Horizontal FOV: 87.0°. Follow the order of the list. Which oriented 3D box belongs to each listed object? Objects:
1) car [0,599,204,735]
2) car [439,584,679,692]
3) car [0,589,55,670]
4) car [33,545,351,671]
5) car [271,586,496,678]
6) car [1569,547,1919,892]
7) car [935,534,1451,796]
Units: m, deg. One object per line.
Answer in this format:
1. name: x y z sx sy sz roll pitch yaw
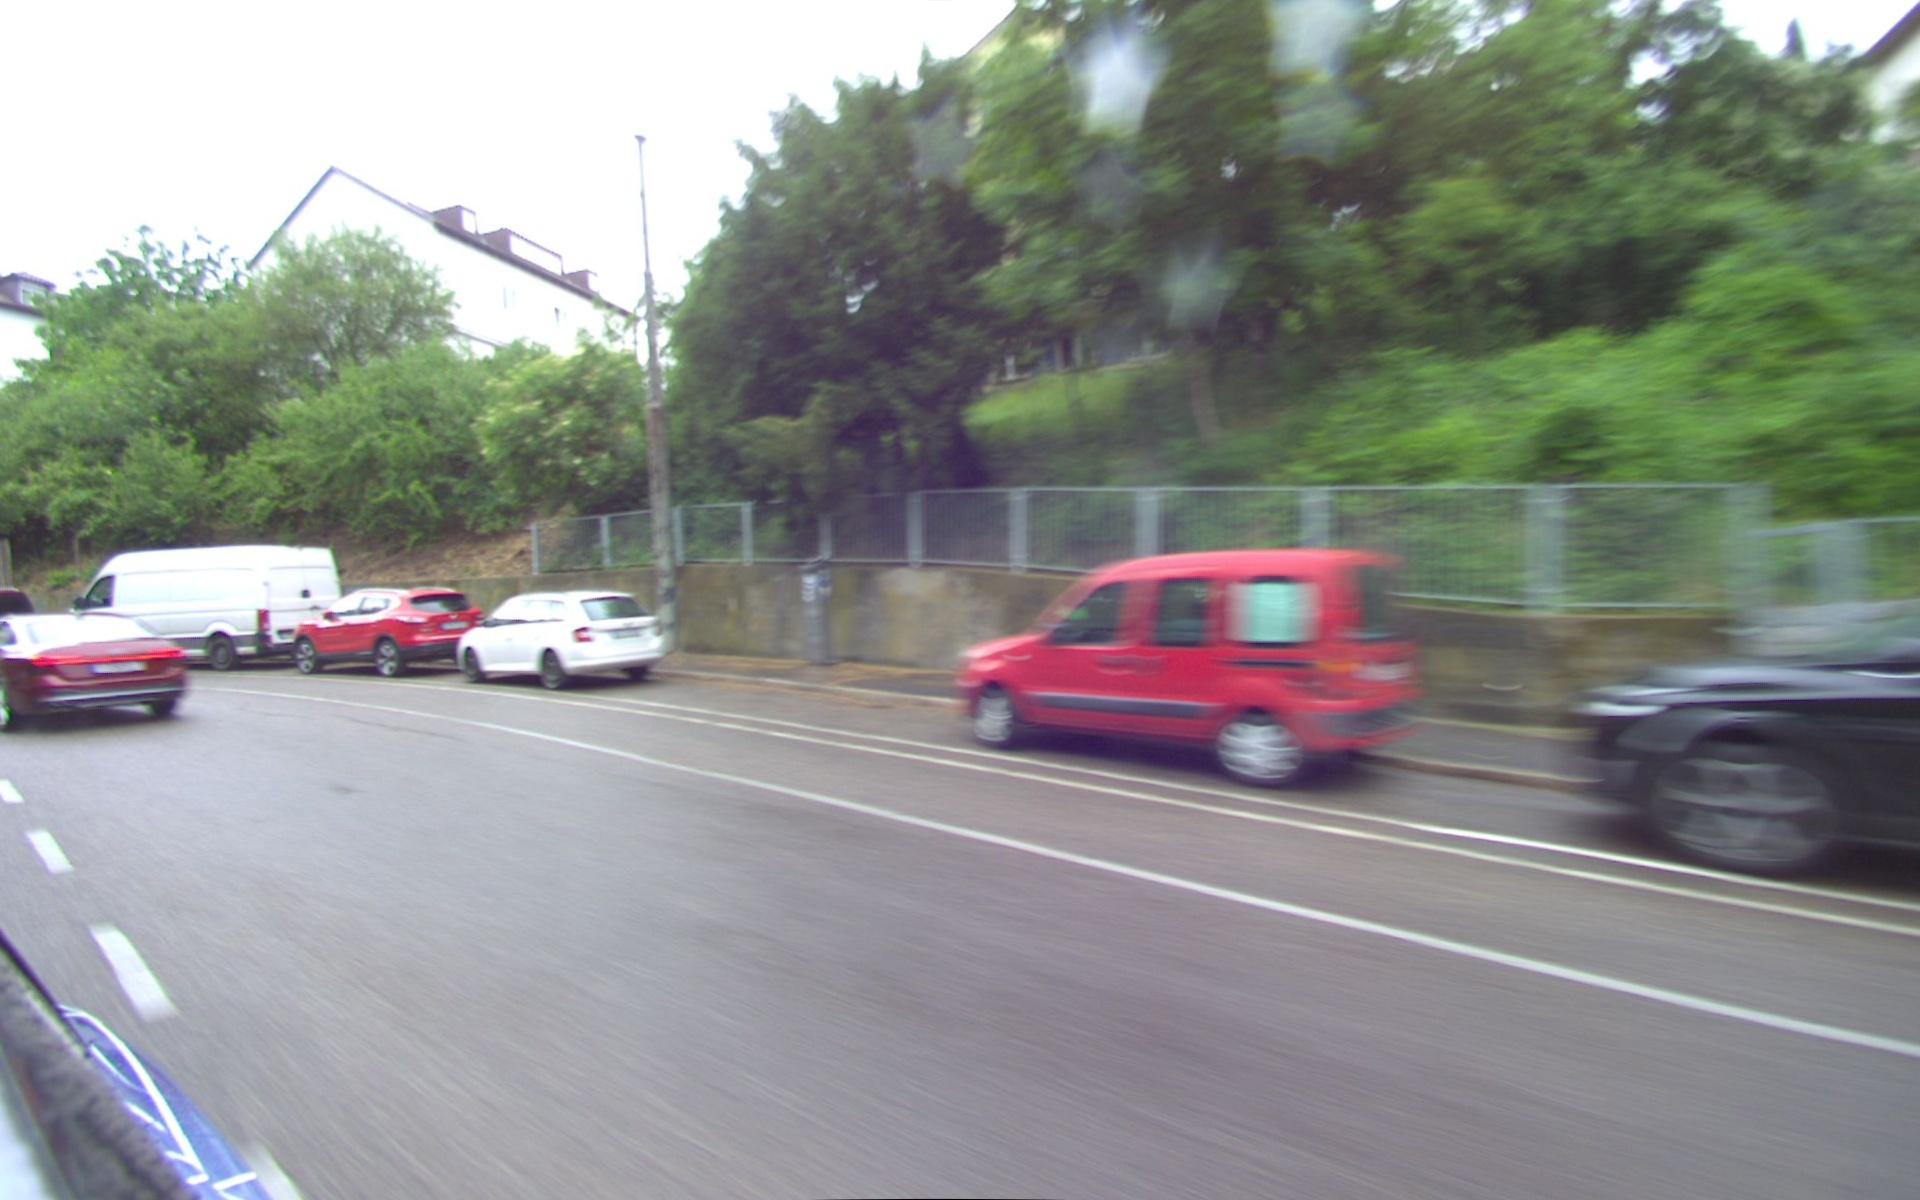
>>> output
1. car: -12.318 0.848 13.771 4.472 1.528 1.852 -2 0 34
2. car: -6.662 0.576 16.647 4.192 1.490 1.722 -1 2 38
3. car: -25.132 0.744 24.455 4.756 1.890 1.999 -1 1 1
4. car: -17.053 0.213 22.460 6.764 2.549 2.030 -1 1 17
5. car: -11.277 0.593 19.734 4.413 1.597 1.764 -1 1 29
6. car: 5.754 0.579 4.988 4.398 1.631 1.971 1 0 44
7. car: 1.853 0.416 8.907 4.137 1.781 1.731 1 1 43
